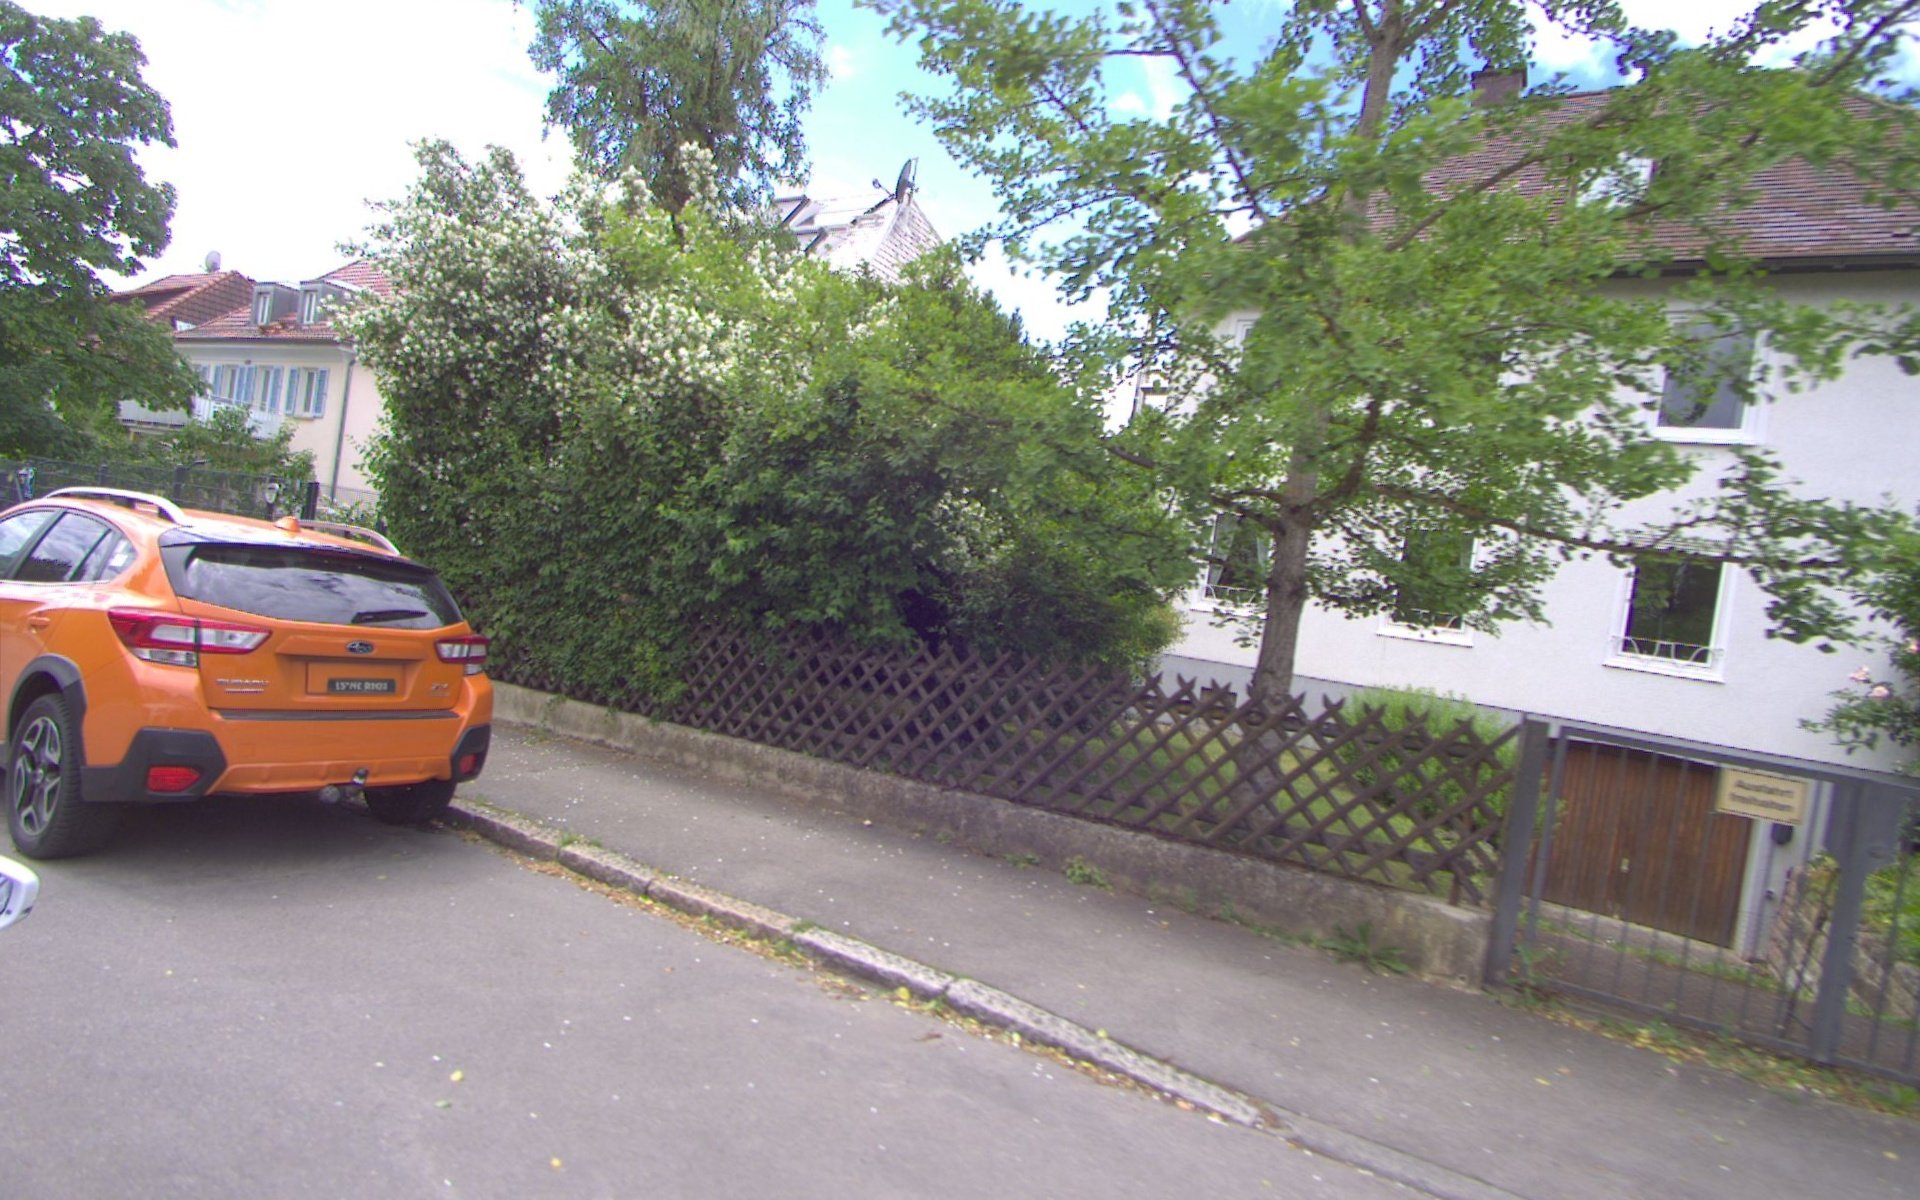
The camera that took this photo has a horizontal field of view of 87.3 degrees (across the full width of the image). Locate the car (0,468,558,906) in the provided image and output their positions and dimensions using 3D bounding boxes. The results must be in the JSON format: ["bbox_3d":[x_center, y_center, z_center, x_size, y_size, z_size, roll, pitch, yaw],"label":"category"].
[{"bbox_3d":[-4.496,0.244,5.721,4.099,1.645,1.854,7,-1,31],"label":"car"}]

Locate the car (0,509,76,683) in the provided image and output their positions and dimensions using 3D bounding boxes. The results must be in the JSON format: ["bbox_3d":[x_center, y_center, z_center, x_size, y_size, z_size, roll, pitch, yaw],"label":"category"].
[{"bbox_3d":[-9.837,-0.259,8.970,4.166,1.399,1.719,7,-1,32],"label":"car"}]
